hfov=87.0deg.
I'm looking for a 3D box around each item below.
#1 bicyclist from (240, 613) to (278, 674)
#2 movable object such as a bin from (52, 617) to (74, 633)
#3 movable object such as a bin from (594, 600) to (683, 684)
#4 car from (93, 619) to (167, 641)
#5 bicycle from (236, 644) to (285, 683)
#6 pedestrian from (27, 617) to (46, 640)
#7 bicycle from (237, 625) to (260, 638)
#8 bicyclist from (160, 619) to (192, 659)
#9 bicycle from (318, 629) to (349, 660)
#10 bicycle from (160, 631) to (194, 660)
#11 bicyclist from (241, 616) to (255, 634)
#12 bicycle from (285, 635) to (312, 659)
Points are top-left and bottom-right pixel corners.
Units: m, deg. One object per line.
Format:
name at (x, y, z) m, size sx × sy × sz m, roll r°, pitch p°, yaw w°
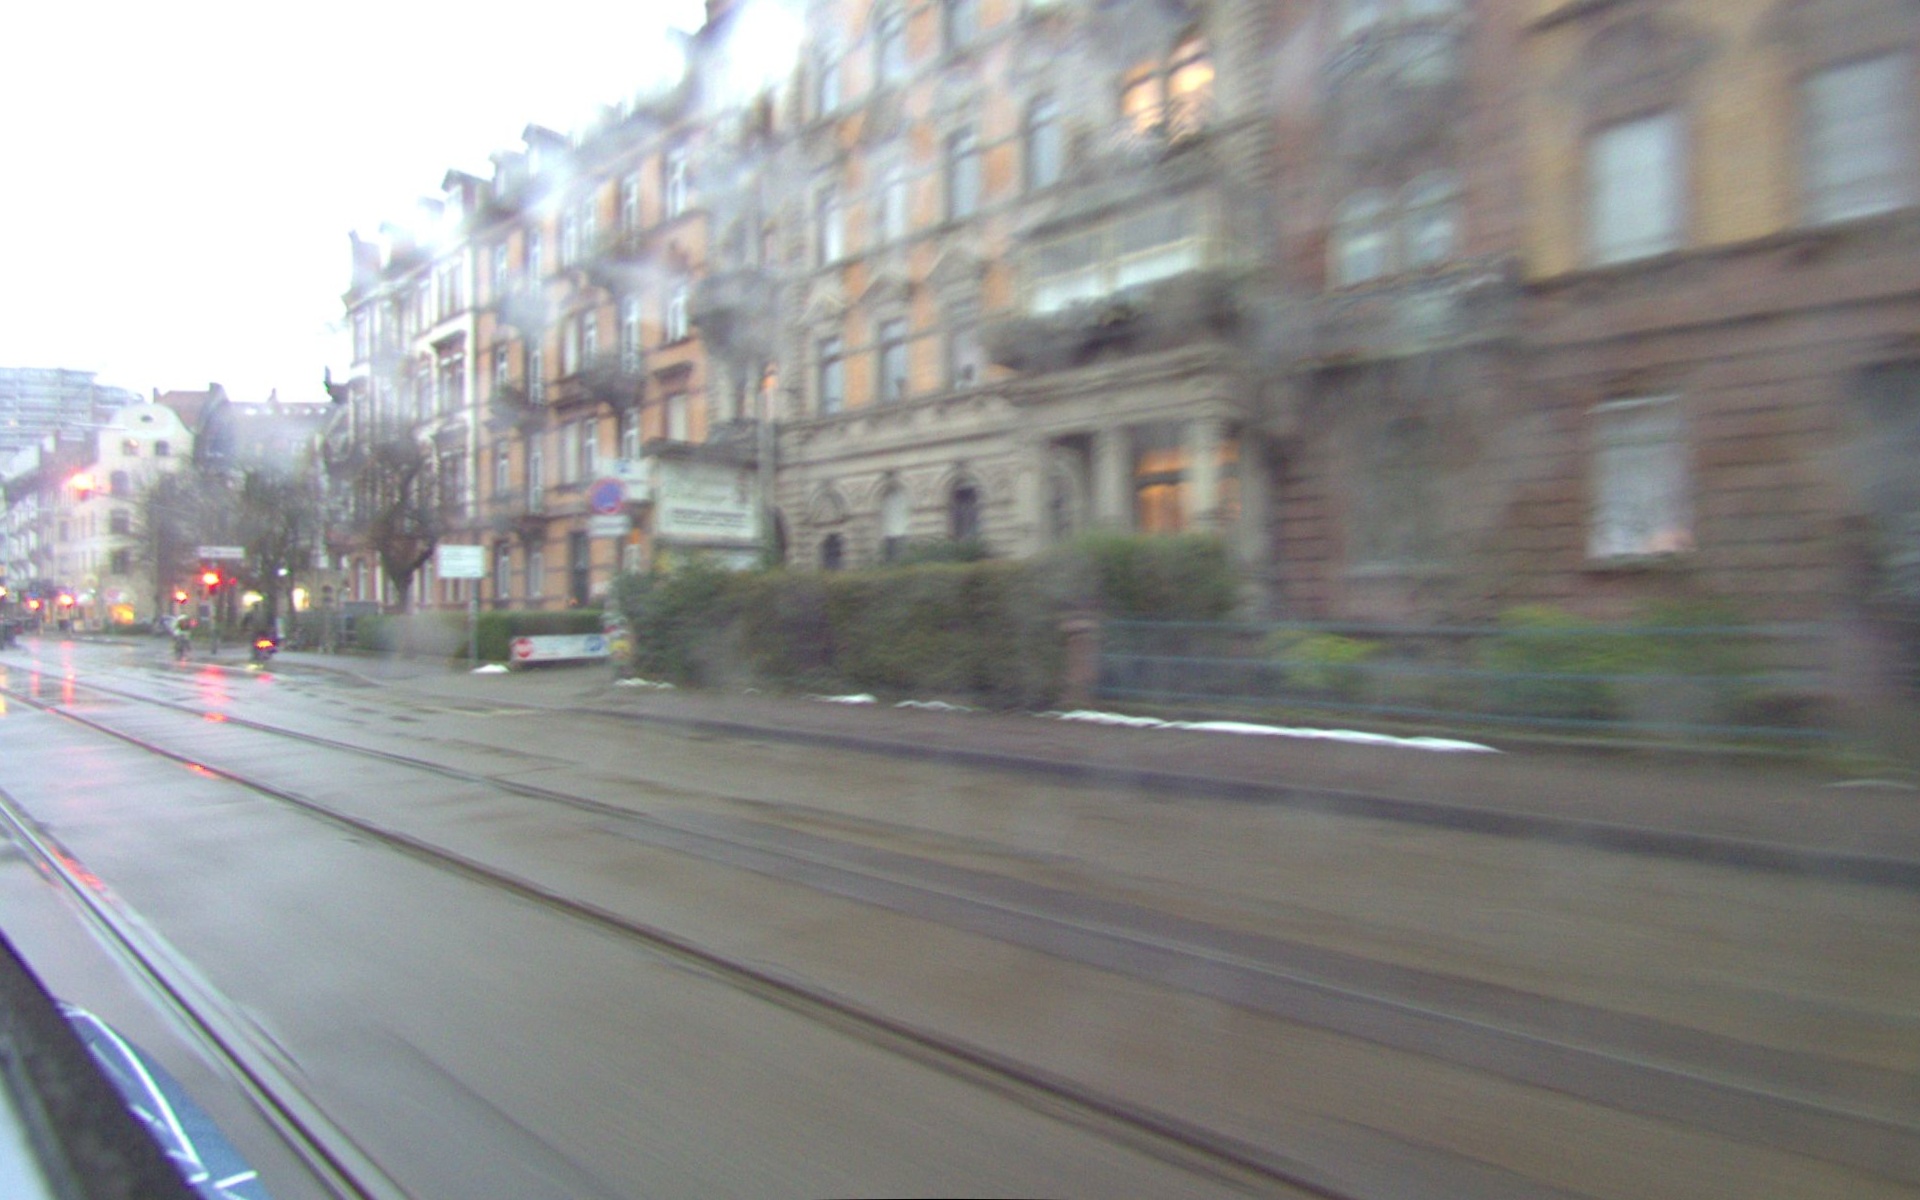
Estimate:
bicyclist at (-19.136, 1.171, 27.632) m, size 0.765 × 1.628 × 0.676 m, roll -1°, pitch 0°, yaw 42°
movable object such as a bin at (-83.437, 2.345, 94.119) m, size 1.280 × 1.382 × 1.336 m, roll -1°, pitch 3°, yaw 40°
movable object such as a bin at (-6.548, 0.822, 20.617) m, size 1.229 × 1.597 × 1.309 m, roll -2°, pitch 1°, yaw -44°
car at (-64.612, 2.306, 78.851) m, size 4.271 × 1.595 × 1.942 m, roll 0°, pitch -1°, yaw -34°
bicycle at (-19.091, 1.712, 27.606) m, size 1.933 × 0.979 × 0.671 m, roll -1°, pitch 0°, yaw 43°
pedestrian at (-79.645, 2.422, 87.271) m, size 0.785 × 1.892 × 0.897 m, roll -3°, pitch 2°, yaw -13°
bicycle at (-56.113, 2.469, 79.835) m, size 1.796 × 1.014 × 0.489 m, roll -1°, pitch -1°, yaw 18°
bicyclist at (-27.994, 1.374, 36.148) m, size 0.944 × 1.374 × 0.697 m, roll -1°, pitch 2°, yaw 42°
bicycle at (-21.439, 1.514, 34.630) m, size 1.849 × 1.014 × 0.412 m, roll -1°, pitch 0°, yaw 43°
bicycle at (-27.967, 1.611, 36.142) m, size 1.802 × 1.014 × 0.674 m, roll -1°, pitch -1°, yaw 43°
bicyclist at (-56.191, 1.963, 79.857) m, size 0.759 × 1.374 × 0.528 m, roll -1°, pitch 1°, yaw 17°
bicycle at (-24.842, 1.751, 37.984) m, size 1.849 × 0.869 × 0.395 m, roll -1°, pitch 0°, yaw 43°
